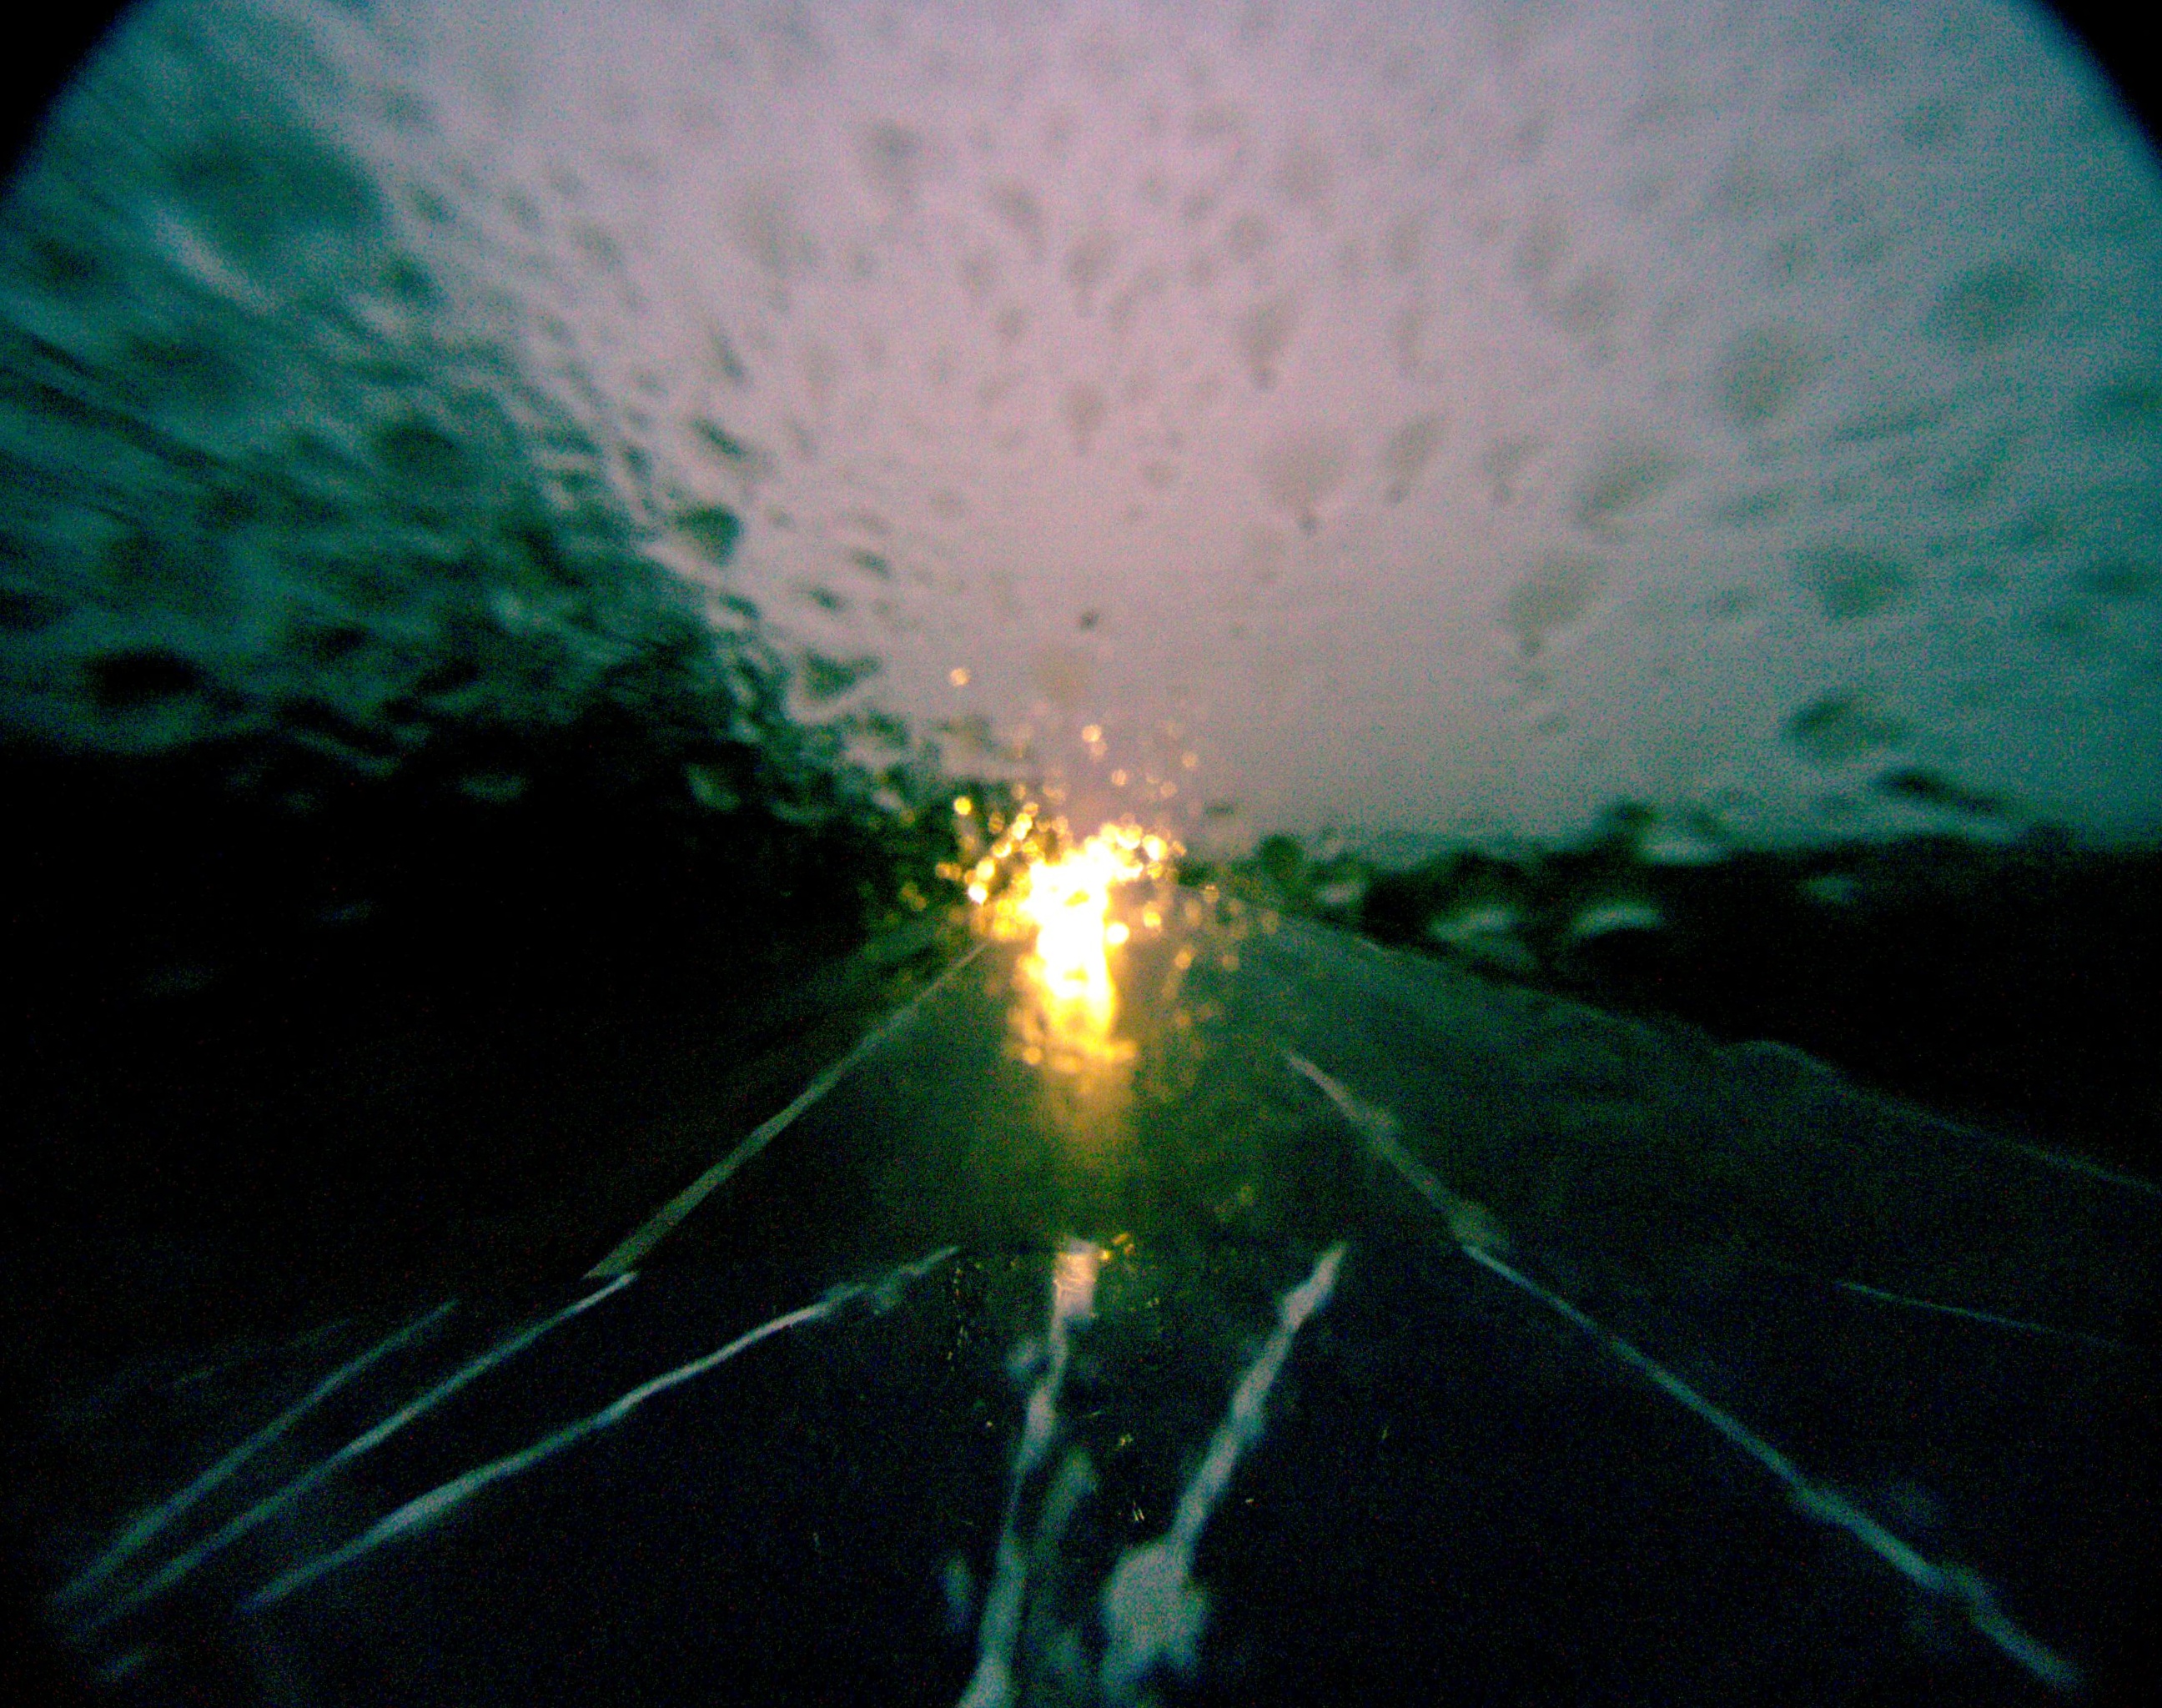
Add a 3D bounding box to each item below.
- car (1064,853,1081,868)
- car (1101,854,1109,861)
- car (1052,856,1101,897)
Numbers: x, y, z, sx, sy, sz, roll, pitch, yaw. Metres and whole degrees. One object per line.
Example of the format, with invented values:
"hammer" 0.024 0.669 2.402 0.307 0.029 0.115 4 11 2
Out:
"car" -1.096 0.793 97.096 1.933 1.740 4.000 -2 1 1
"car" 5.973 0.864 189.417 1.998 1.455 4.351 2 1 1
"car" -0.164 0.868 31.611 1.844 1.484 3.956 -2 1 0
